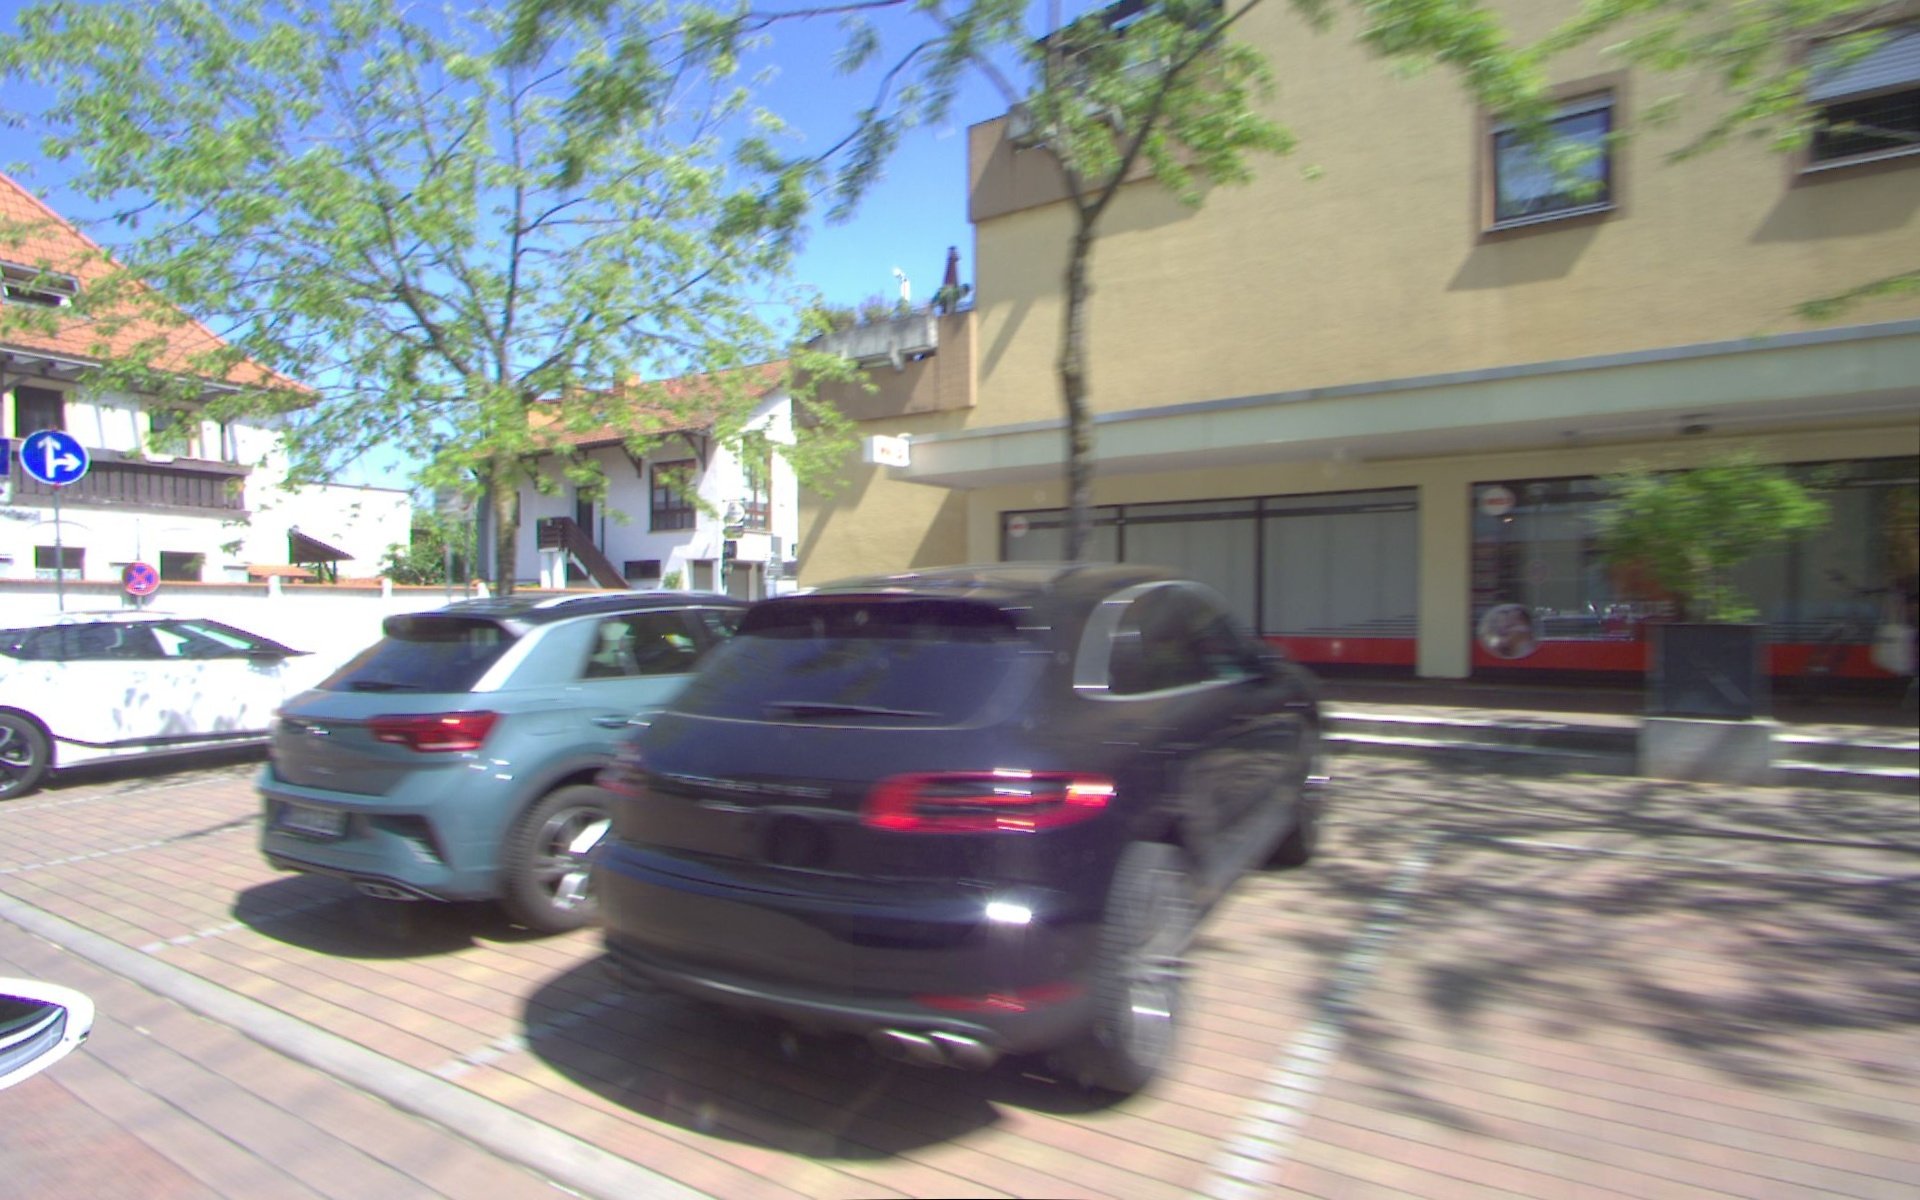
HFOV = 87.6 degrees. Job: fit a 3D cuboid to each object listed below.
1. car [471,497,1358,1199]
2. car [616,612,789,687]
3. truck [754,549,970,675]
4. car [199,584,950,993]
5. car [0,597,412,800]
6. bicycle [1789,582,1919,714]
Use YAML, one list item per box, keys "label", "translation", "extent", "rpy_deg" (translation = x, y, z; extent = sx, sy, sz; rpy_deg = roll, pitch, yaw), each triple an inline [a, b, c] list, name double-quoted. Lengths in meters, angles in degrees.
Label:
- label: "car"
  translation: [0.399, 0.622, 4.478]
  extent: [1.971, 1.703, 4.272]
  rpy_deg: [0, 1, 30]
- label: "car"
  translation: [-5.608, 1.030, 22.169]
  extent: [1.631, 1.471, 3.607]
  rpy_deg: [1, 0, 32]
- label: "truck"
  translation: [-2.502, 0.330, 27.670]
  extent: [2.509, 3.045, 6.370]
  rpy_deg: [0, 0, 33]
- label: "car"
  translation: [-1.860, 0.714, 6.039]
  extent: [1.797, 1.555, 3.935]
  rpy_deg: [0, 1, 31]
- label: "car"
  translation: [-7.986, 0.815, 9.662]
  extent: [1.762, 1.597, 4.431]
  rpy_deg: [0, 1, 31]
- label: "bicycle"
  translation: [8.438, 0.415, 8.782]
  extent: [1.750, 1.138, 0.411]
  rpy_deg: [-1, -1, 35]
